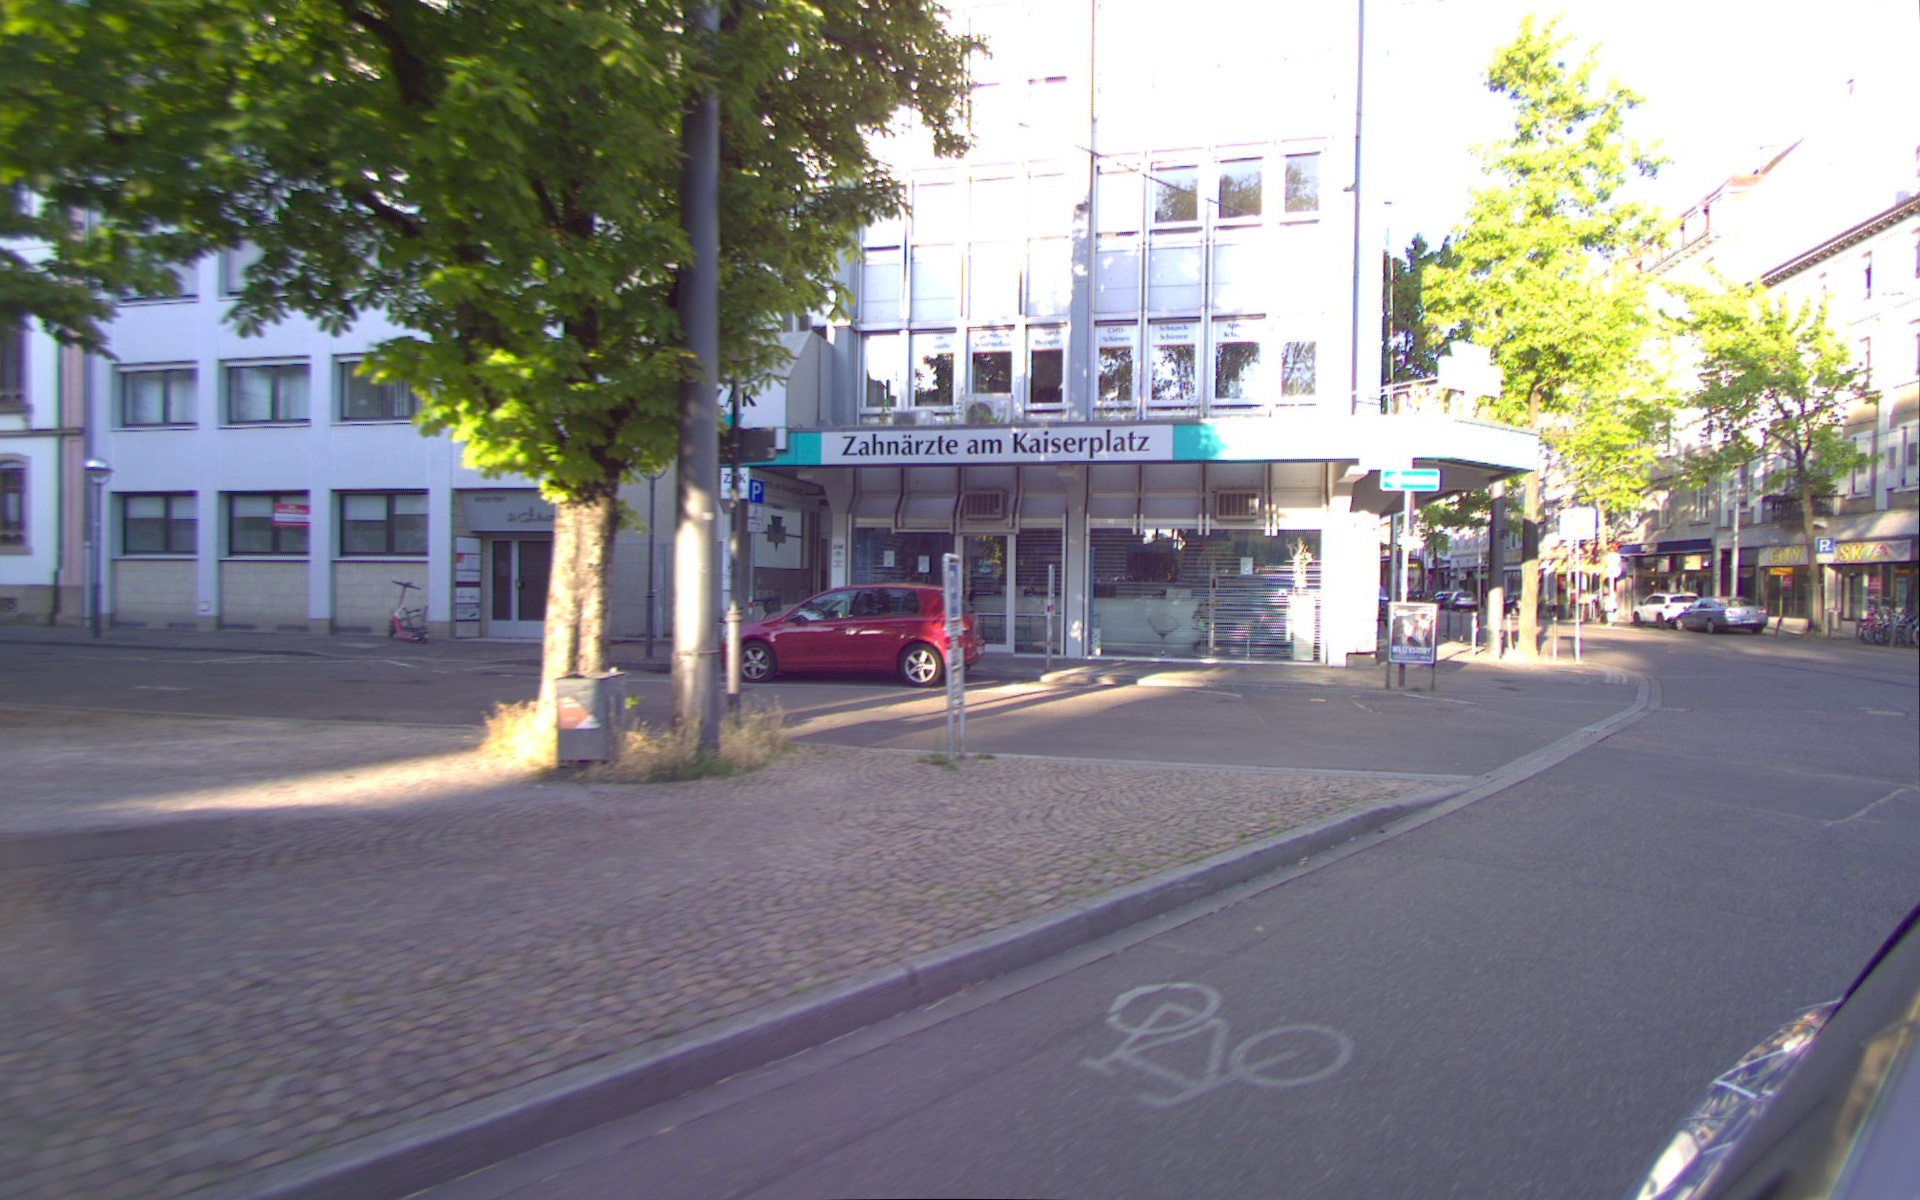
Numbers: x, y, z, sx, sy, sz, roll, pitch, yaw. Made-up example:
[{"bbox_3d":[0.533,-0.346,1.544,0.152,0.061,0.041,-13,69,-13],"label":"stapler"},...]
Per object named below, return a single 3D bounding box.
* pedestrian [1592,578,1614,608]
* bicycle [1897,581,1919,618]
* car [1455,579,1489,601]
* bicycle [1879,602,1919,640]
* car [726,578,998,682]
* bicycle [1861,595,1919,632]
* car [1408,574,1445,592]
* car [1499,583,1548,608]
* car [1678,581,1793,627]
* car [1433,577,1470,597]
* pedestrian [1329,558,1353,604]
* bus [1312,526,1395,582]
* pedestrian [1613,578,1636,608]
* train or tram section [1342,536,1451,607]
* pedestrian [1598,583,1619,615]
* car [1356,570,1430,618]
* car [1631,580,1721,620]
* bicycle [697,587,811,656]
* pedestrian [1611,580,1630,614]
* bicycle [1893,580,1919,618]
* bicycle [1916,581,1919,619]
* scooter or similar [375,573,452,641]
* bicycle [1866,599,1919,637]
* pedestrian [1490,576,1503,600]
[{"bbox_3d":[37.024,-0.399,58.263,0.833,1.714,0.738,1,1,12],"label":"pedestrian"},{"bbox_3d":[29.802,-0.027,30.704,2.001,1.118,0.499,-1,2,16],"label":"bicycle"},{"bbox_3d":[38.374,-0.749,75.895,1.750,1.515,4.150,0,2,19],"label":"car"},{"bbox_3d":[30.242,0.648,32.118,1.988,1.118,0.502,-2,2,-12],"label":"bicycle"},{"bbox_3d":[-1.433,0.406,15.495,3.808,1.458,1.827,0,1,12],"label":"car"},{"bbox_3d":[30.791,0.435,33.398,1.911,1.118,0.569,-2,2,-12],"label":"bicycle"},{"bbox_3d":[42.228,-1.556,91.612,1.767,1.508,4.236,-1,2,7],"label":"car"},{"bbox_3d":[36.333,-0.304,65.367,1.645,1.446,3.814,-2,1,12],"label":"car"},{"bbox_3d":[31.311,0.123,41.045,1.814,1.599,4.685,-3,1,13],"label":"car"},{"bbox_3d":[39.772,-1.041,81.940,1.691,1.479,4.470,-1,2,13],"label":"car"},{"bbox_3d":[14.462,-0.736,38.433,0.635,1.690,0.783,4,2,13],"label":"pedestrian"},{"bbox_3d":[31.605,-3.602,82.188,3.564,4.047,17.419,1,2,12],"label":"bus"},{"bbox_3d":[38.211,-0.404,58.228,0.779,1.714,0.910,1,1,12],"label":"pedestrian"},{"bbox_3d":[28.078,-1.844,66.095,3.555,4.047,15.659,1,2,12],"label":"train or tram section"},{"bbox_3d":[31.997,-0.052,49.955,0.612,1.527,0.727,1,2,13],"label":"pedestrian"},{"bbox_3d":[18.253,-0.331,42.913,1.915,1.780,4.663,4,3,12],"label":"car"},{"bbox_3d":[32.515,-0.055,46.096,1.814,1.599,4.101,-3,1,13],"label":"car"},{"bbox_3d":[-3.618,0.376,17.846,1.895,1.195,0.524,0,1,2],"label":"bicycle"},{"bbox_3d":[31.912,-0.138,48.888,0.515,1.588,0.631,1,2,13],"label":"pedestrian"},{"bbox_3d":[30.123,-0.053,31.527,1.988,1.118,0.502,-2,2,-12],"label":"bicycle"},{"bbox_3d":[29.833,-0.010,30.095,2.001,1.118,0.499,-1,2,16],"label":"bicycle"},{"bbox_3d":[-11.458,0.132,21.210,1.668,1.385,0.428,0,1,21],"label":"scooter or similar"},{"bbox_3d":[30.391,0.584,32.709,2.071,1.118,0.502,-2,2,-12],"label":"bicycle"},{"bbox_3d":[41.825,-0.933,78.929,0.652,1.848,0.875,-2,1,13],"label":"pedestrian"}]
